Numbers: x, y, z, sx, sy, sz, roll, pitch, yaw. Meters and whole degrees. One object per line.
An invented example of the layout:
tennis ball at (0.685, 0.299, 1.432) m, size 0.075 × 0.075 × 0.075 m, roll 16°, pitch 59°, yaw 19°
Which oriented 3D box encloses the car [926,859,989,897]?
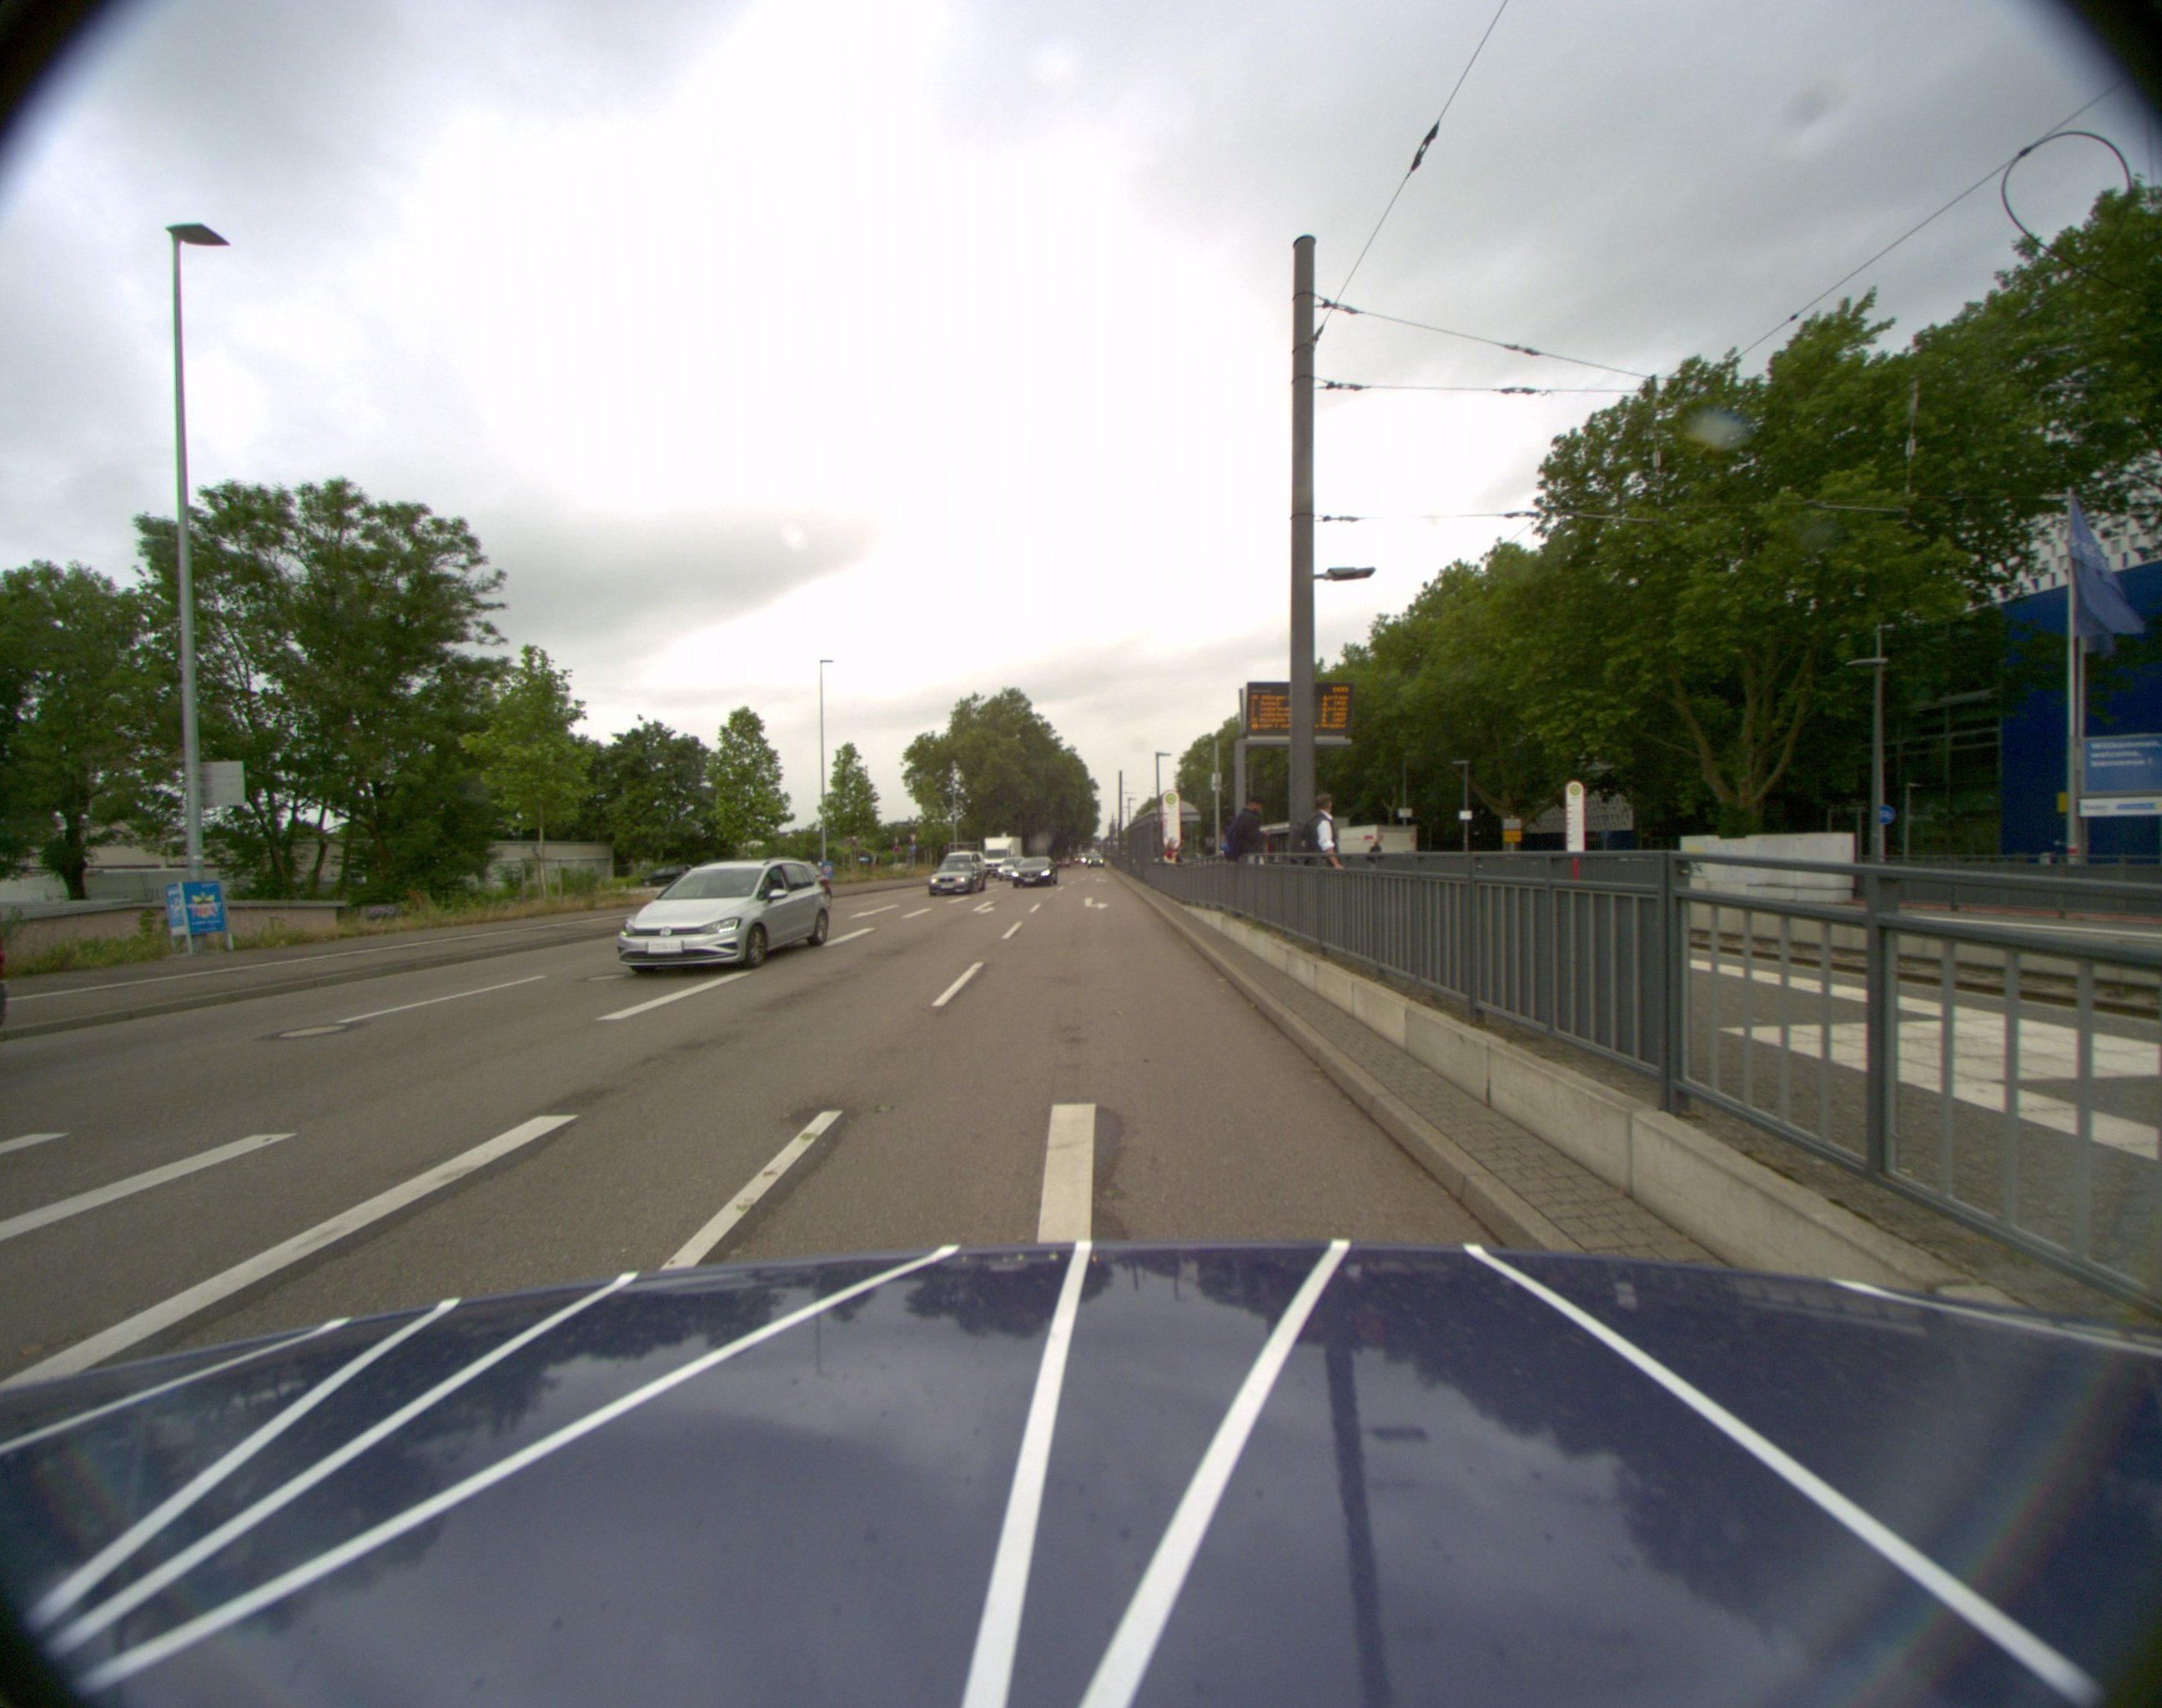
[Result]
car at (-5.093, 0.950, 31.858) m, size 1.875 × 1.383 × 4.343 m, roll -2°, pitch 0°, yaw 0°

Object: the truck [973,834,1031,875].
truck at (-5.949, -0.009, 58.434) m, size 2.824 × 2.906 × 6.548 m, roll -2°, pitch 0°, yaw 9°

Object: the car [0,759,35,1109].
car at (-9.380, 0.647, 2.842) m, size 2.663 × 2.610 × 5.898 m, roll -2°, pitch 0°, yaw 0°

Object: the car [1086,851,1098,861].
car at (1.791, 0.322, 126.278) m, size 1.712 × 1.664 × 3.715 m, roll 0°, pitch 0°, yaw 4°

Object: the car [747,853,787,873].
car at (-34.174, 0.956, 82.811) m, size 2.316 × 2.002 × 4.558 m, roll -2°, pitch 0°, yaw 1°

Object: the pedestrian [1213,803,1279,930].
pedestrian at (2.333, 0.168, 10.797) m, size 0.787 × 1.732 × 0.587 m, roll -2°, pitch 2°, yaw 5°

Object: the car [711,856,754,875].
car at (-33.662, 1.118, 73.573) m, size 2.123 × 1.686 × 4.650 m, roll -2°, pitch 0°, yaw -2°

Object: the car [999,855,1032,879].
car at (-4.140, 0.792, 48.322) m, size 1.682 × 1.410 × 3.850 m, roll -2°, pitch 0°, yaw 1°

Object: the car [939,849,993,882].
car at (-7.193, 0.683, 48.029) m, size 2.098 × 1.869 × 5.122 m, roll -2°, pitch 0°, yaw 5°

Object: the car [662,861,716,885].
car at (-33.509, 1.588, 65.094) m, size 2.188 × 2.002 × 4.559 m, roll 1°, pitch 0°, yaw 2°

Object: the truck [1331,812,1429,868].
truck at (21.503, -0.992, 55.489) m, size 3.259 × 3.642 × 9.896 m, roll 1°, pitch 0°, yaw 1°

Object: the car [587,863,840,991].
car at (-5.463, 0.984, 12.018) m, size 1.859 × 1.543 × 4.201 m, roll -2°, pitch 0°, yaw 1°

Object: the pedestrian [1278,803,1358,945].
pedestrian at (2.696, 0.219, 8.707) m, size 0.710 × 1.551 × 0.632 m, roll -2°, pitch 2°, yaw 4°

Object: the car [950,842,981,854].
car at (-16.061, -0.892, 105.605) m, size 3.998 × 1.499 × 1.809 m, roll -2°, pitch 1°, yaw -3°

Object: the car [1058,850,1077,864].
car at (-1.763, 0.356, 97.230) m, size 1.891 × 1.673 × 4.001 m, roll -2°, pitch 1°, yaw 6°

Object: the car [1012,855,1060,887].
car at (-2.120, 0.784, 36.793) m, size 1.998 × 1.383 × 4.343 m, roll -2°, pitch 0°, yaw 0°

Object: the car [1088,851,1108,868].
car at (1.988, 0.618, 87.160) m, size 1.960 × 1.674 × 4.001 m, roll -2°, pitch 1°, yaw 6°

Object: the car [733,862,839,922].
car at (-8.768, 1.069, 22.927) m, size 1.655 × 1.552 × 3.771 m, roll -2°, pitch 0°, yaw 0°
